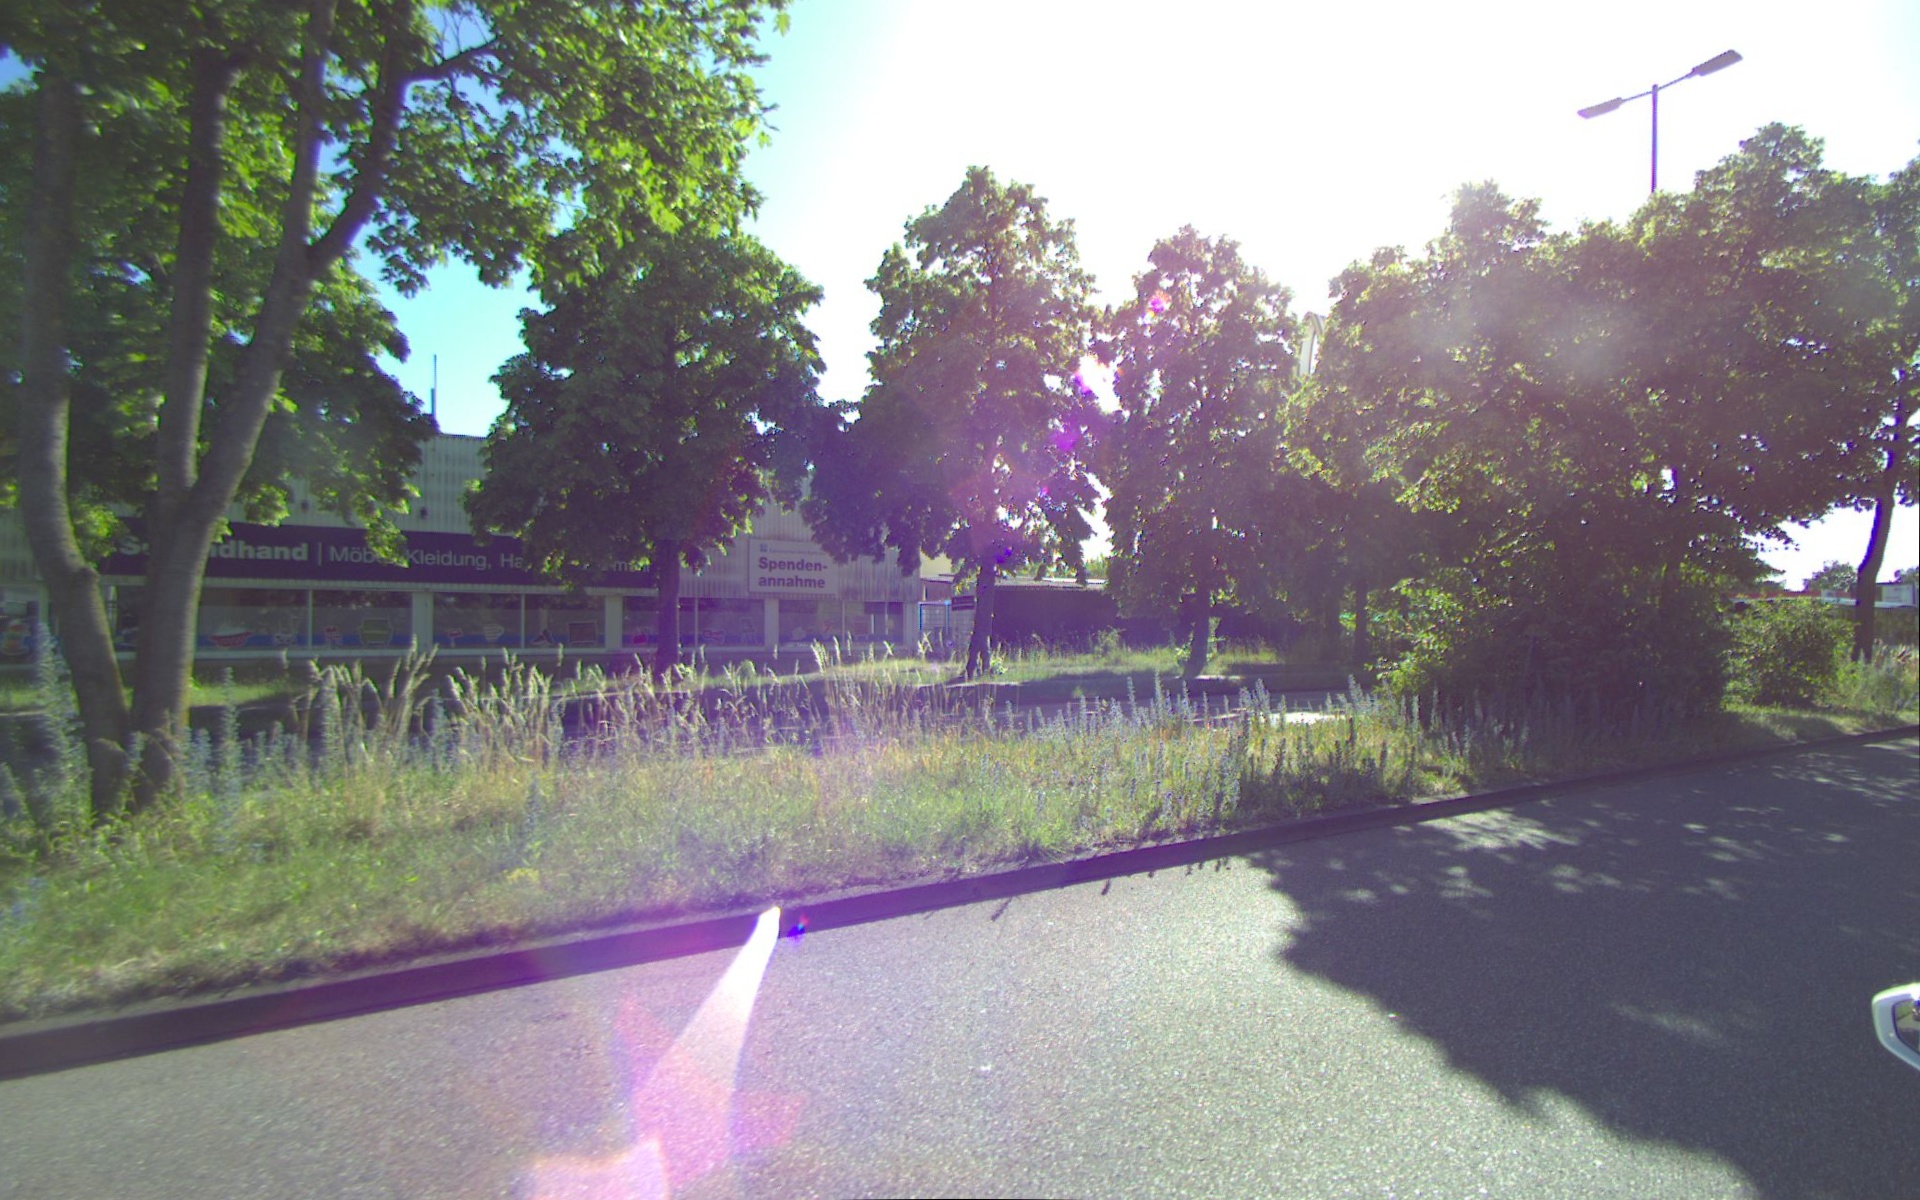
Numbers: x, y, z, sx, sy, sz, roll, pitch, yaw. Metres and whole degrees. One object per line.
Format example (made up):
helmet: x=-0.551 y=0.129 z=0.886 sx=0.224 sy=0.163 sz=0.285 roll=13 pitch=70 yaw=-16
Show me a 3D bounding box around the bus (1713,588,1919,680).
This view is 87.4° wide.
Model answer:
bus: x=29.687 y=1.214 z=34.447 sx=10.974 sy=2.756 sz=2.705 roll=1 pitch=-5 yaw=-35
